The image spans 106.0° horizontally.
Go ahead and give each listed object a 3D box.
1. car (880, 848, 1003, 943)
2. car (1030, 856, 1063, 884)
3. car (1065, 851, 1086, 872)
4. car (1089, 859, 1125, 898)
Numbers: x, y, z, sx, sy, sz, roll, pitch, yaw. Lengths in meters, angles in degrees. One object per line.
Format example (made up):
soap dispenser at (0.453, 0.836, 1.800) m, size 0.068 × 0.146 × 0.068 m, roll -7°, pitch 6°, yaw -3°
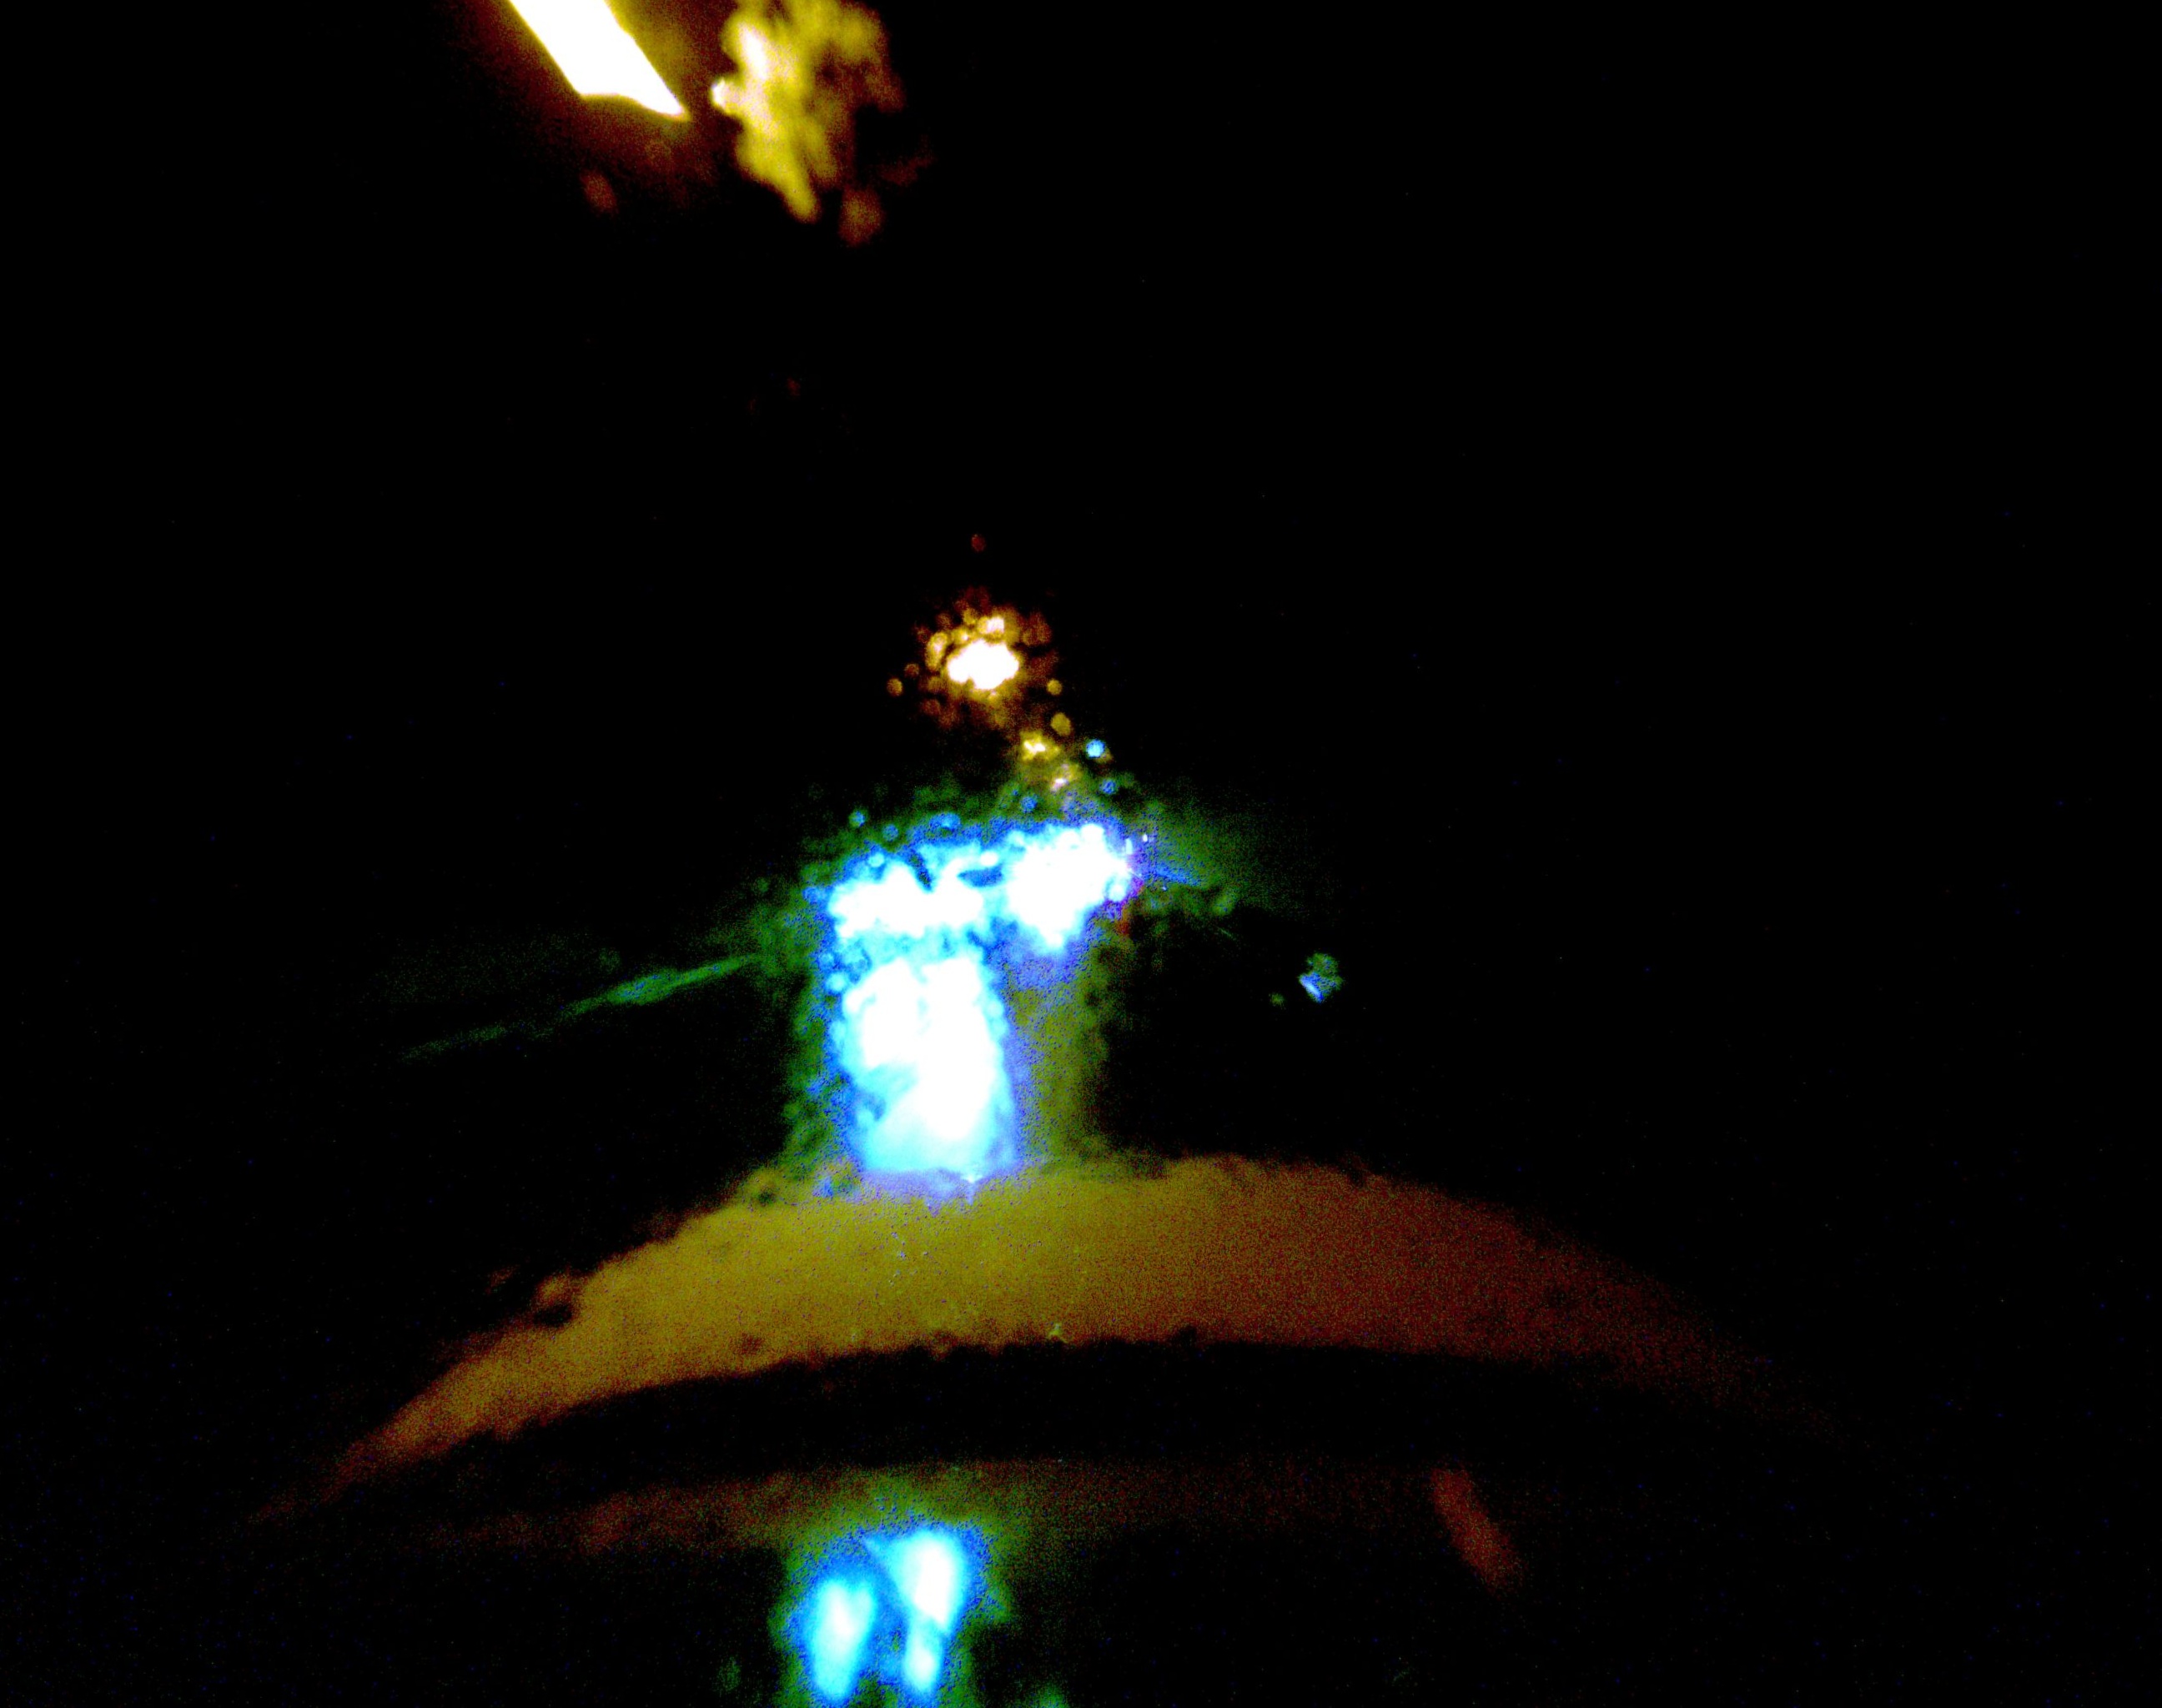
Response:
car at (-2.553, 0.726, 15.673) m, size 1.617 × 1.613 × 3.586 m, roll 0°, pitch -1°, yaw 2°
car at (-1.990, 0.925, 48.402) m, size 1.629 × 1.628 × 4.147 m, roll 0°, pitch -1°, yaw 2°
car at (-0.450, 0.686, 77.523) m, size 1.774 × 1.928 × 5.140 m, roll 0°, pitch -1°, yaw 2°
car at (1.262, 1.130, 39.350) m, size 1.629 × 1.758 × 4.147 m, roll 0°, pitch -1°, yaw 2°
